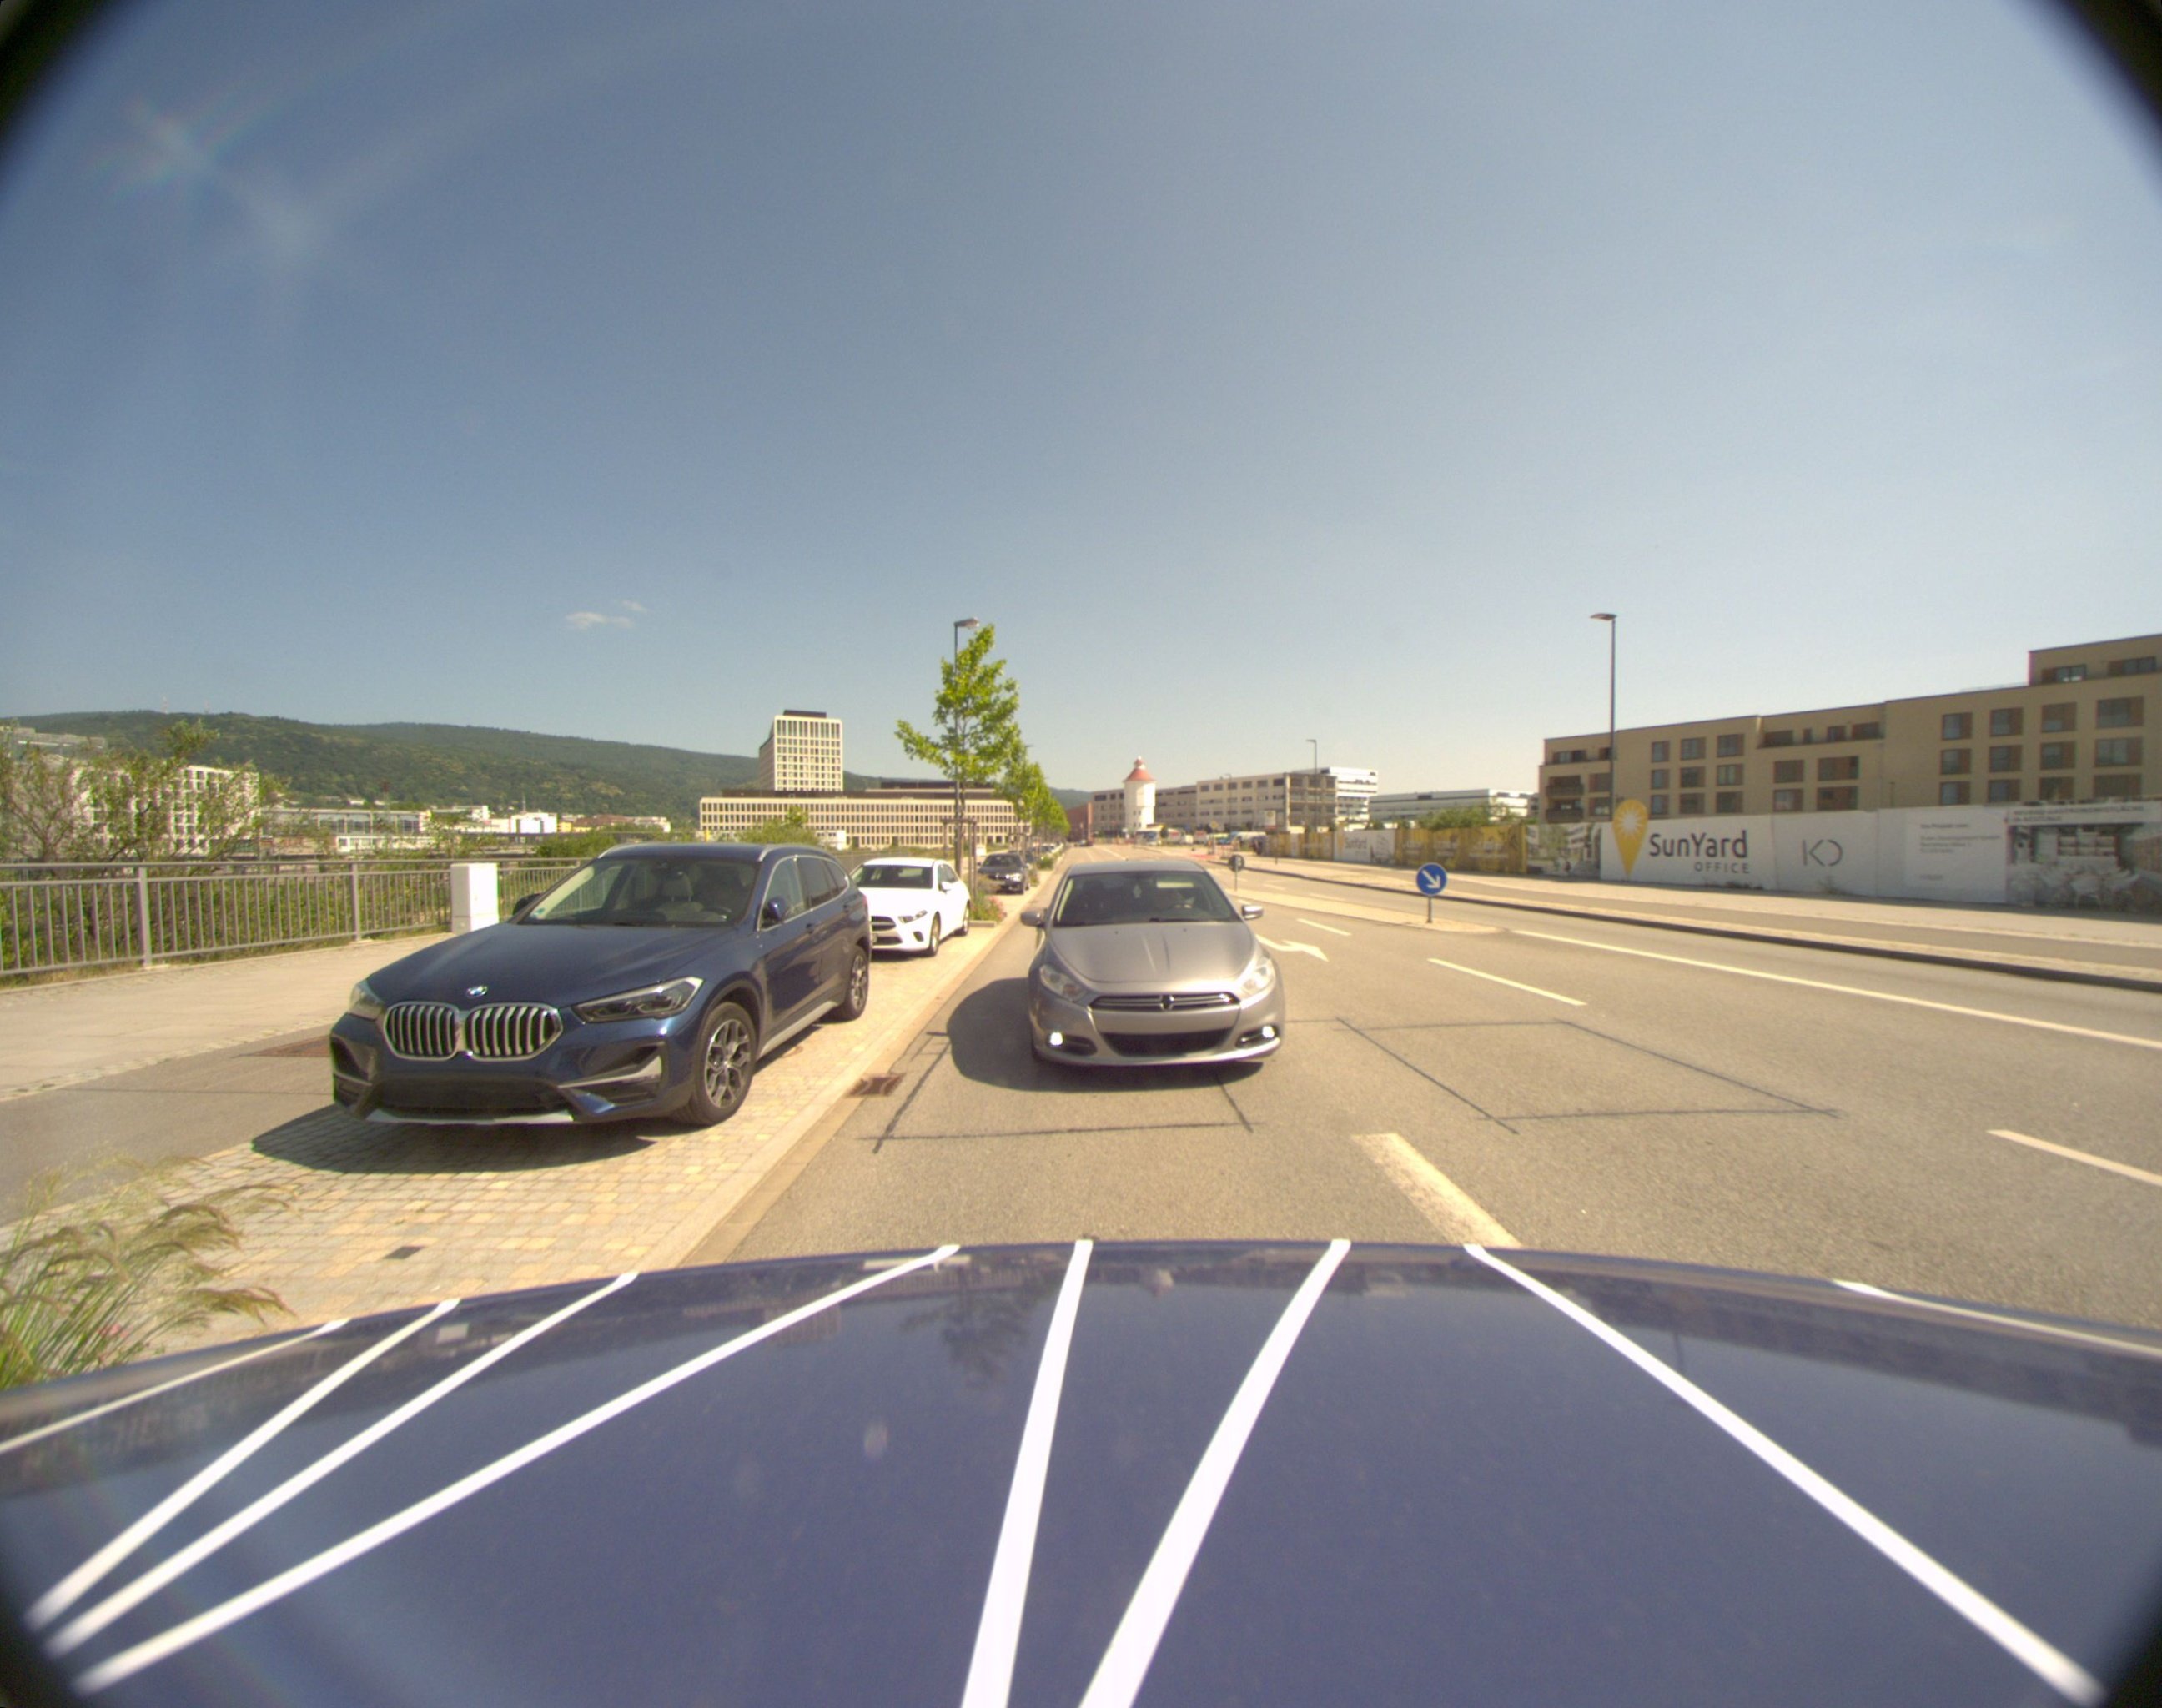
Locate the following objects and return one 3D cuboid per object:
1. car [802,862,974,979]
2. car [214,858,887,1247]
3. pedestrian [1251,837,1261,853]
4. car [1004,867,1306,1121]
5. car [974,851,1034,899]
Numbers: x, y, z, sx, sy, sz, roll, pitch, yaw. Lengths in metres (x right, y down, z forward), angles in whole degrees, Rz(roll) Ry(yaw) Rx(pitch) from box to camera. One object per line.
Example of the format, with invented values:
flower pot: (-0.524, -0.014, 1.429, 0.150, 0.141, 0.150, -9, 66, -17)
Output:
car: (-2.891, 0.919, 12.287, 1.664, 1.447, 3.999, -2, 1, 1)
car: (-2.884, 0.894, 5.480, 1.769, 1.598, 4.238, -2, 1, 1)
pedestrian: (17.788, -0.923, 77.381, 0.705, 1.577, 0.617, -3, 1, -36)
car: (0.478, 0.888, 6.679, 1.784, 1.372, 4.135, -2, 1, 1)
car: (-2.752, 0.713, 27.967, 1.664, 1.529, 3.999, -2, 1, 1)
